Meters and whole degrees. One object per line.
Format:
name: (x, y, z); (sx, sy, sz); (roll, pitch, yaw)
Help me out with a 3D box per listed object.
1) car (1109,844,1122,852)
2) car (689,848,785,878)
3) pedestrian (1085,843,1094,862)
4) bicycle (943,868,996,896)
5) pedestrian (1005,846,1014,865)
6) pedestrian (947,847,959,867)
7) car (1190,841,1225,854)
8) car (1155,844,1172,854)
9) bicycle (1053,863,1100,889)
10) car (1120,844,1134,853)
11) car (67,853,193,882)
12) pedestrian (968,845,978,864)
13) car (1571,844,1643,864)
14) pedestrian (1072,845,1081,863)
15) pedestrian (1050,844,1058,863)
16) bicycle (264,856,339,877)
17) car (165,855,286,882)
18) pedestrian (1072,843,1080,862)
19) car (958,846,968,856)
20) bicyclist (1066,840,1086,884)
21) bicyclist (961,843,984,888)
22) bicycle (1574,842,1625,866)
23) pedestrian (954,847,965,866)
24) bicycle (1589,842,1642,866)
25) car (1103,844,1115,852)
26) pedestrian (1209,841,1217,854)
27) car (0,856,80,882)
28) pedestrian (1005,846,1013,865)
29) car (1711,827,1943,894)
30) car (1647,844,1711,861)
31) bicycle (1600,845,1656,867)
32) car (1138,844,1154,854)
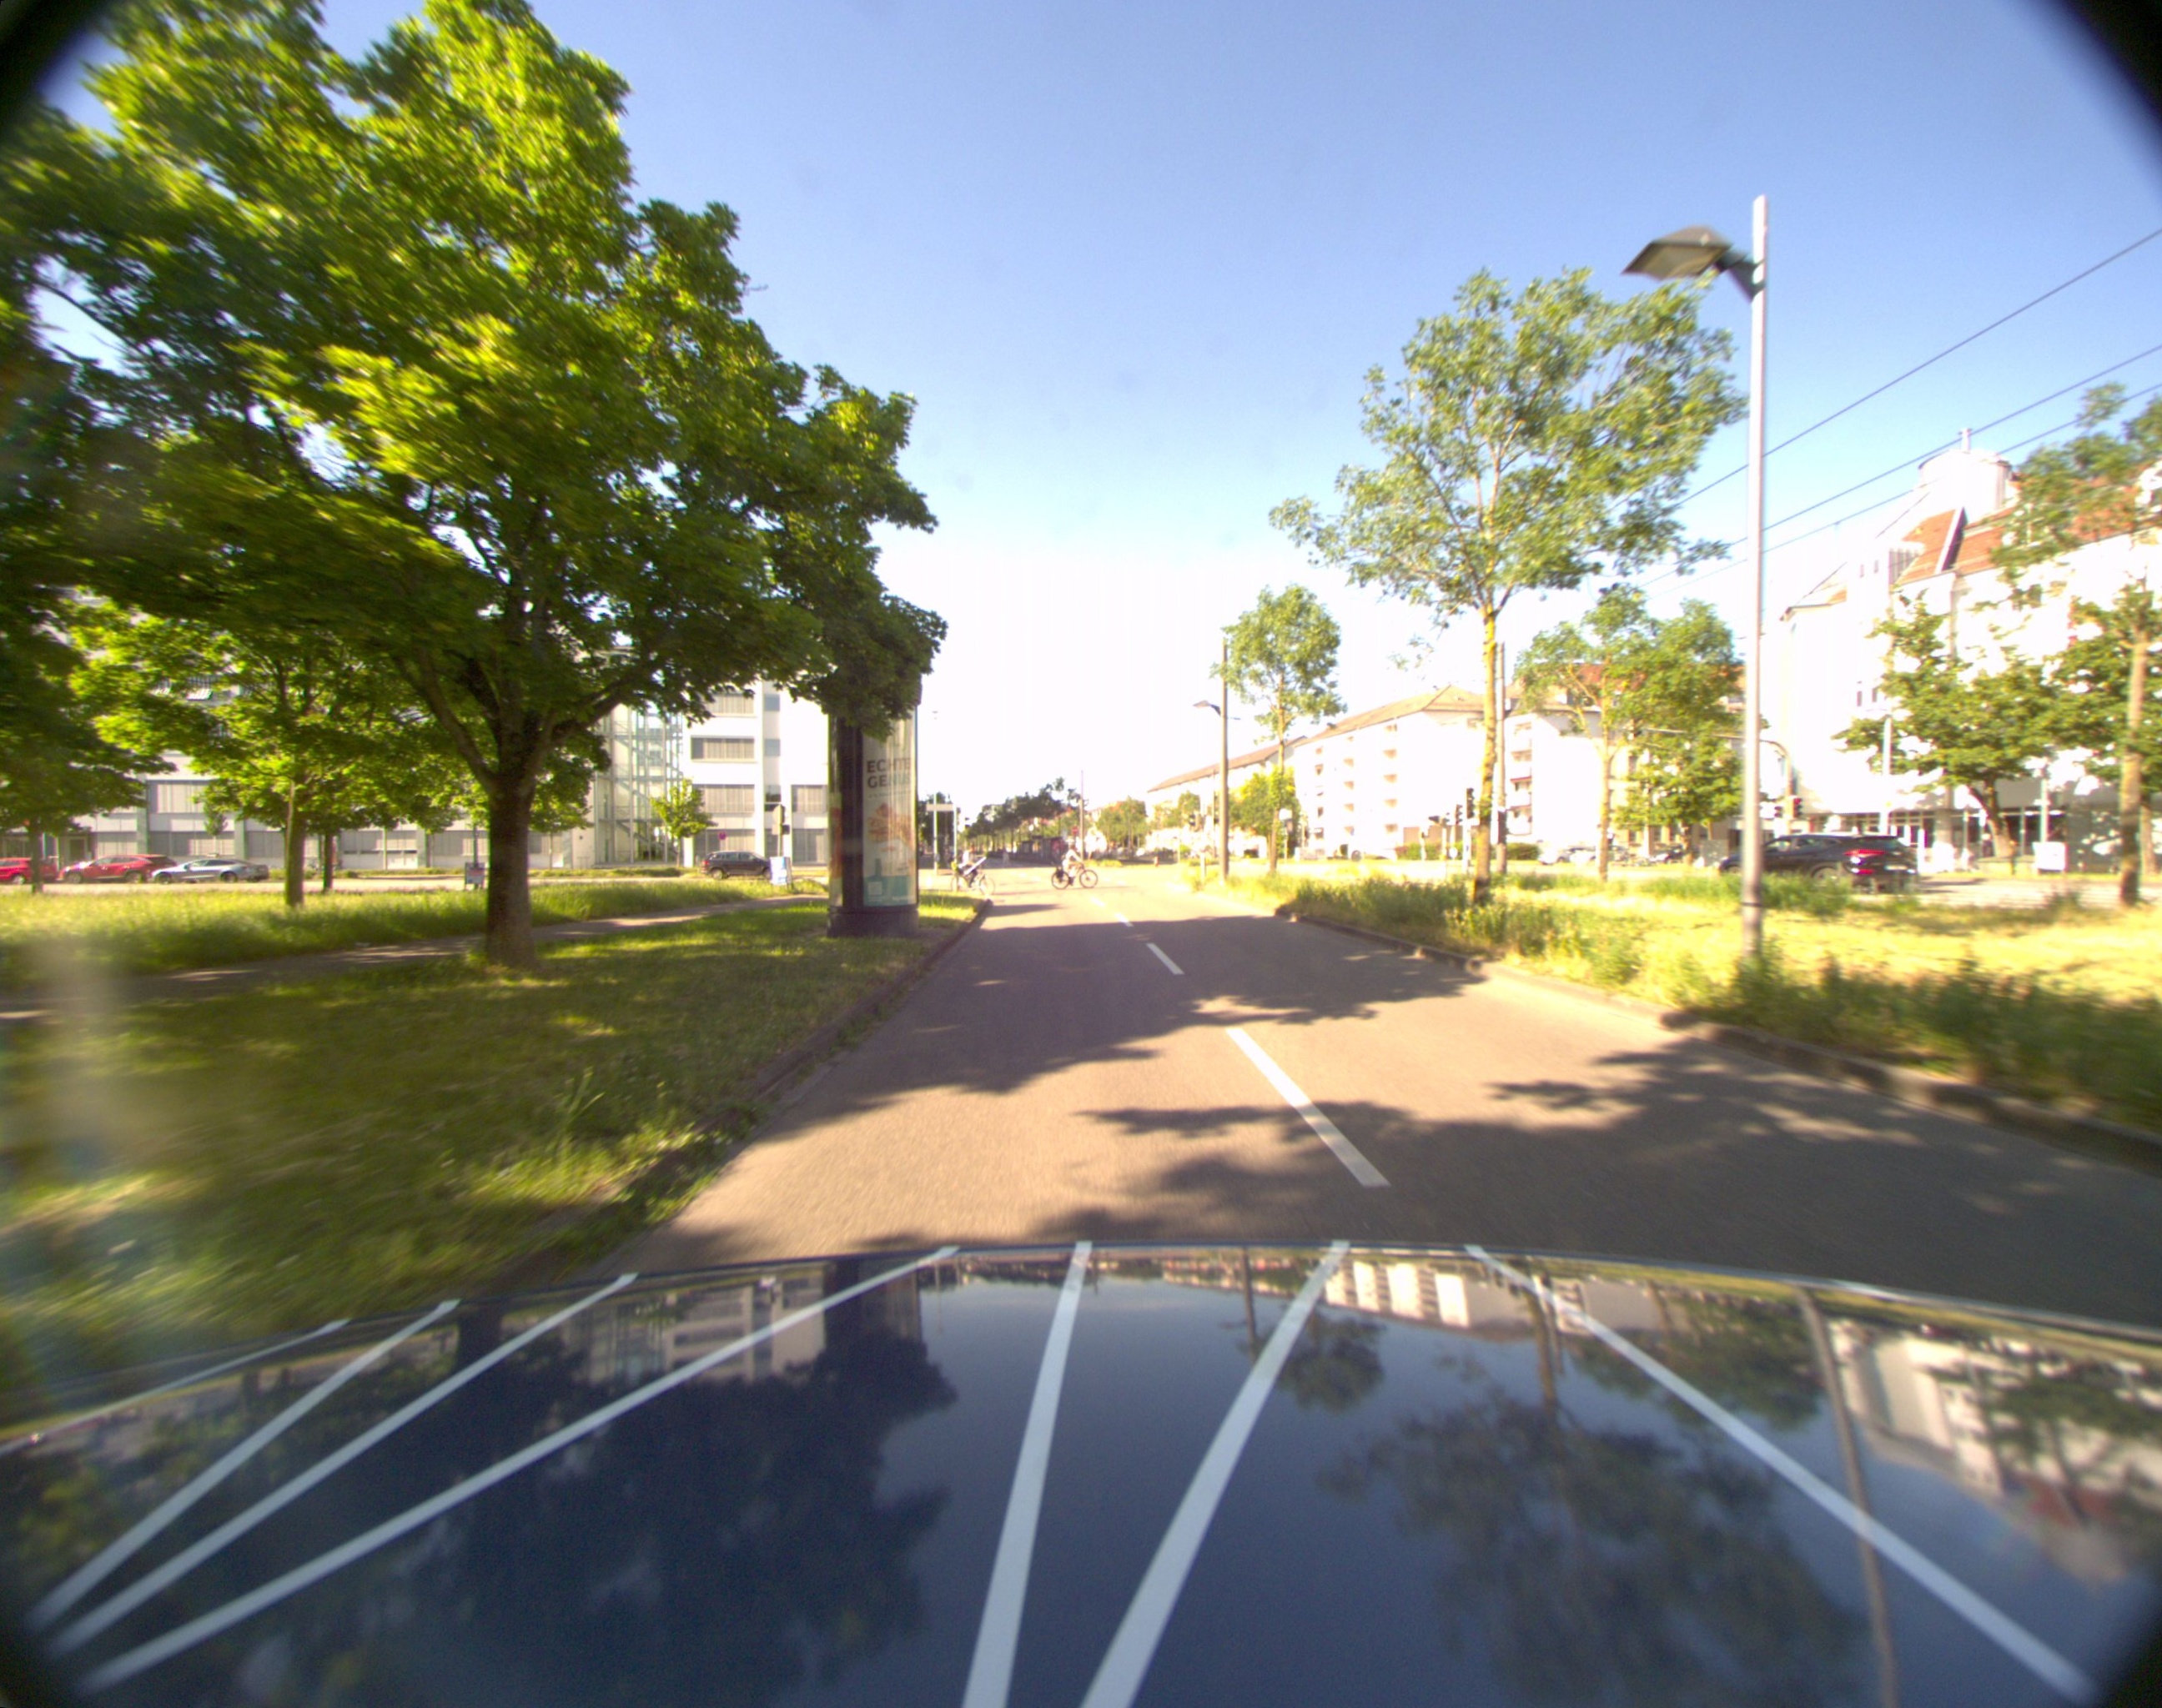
car: (7.384, -1.228, 162.478); (1.694, 1.700, 4.237); (-1, 1, -11)
car: (-19.708, 0.511, 43.738); (4.632, 1.613, 1.998); (-1, 2, -9)
pedestrian: (0.767, -0.136, 66.492); (0.723, 1.687, 0.608); (-1, 1, -4)
bicycle: (-4.025, 1.006, 27.578); (1.828, 0.958, 0.855); (-1, 1, -3)
pedestrian: (-6.353, 0.115, 67.367); (0.732, 1.687, 0.735); (-1, 1, -4)
pedestrian: (-11.206, 0.260, 66.578); (0.731, 1.687, 0.736); (0, 1, 12)
car: (16.579, -0.855, 99.626); (4.231, 1.700, 1.696); (0, 1, 21)
car: (13.739, -0.876, 127.193); (1.694, 1.700, 4.237); (-1, 1, -11)
bicycle: (-0.183, 0.862, 29.883); (1.828, 0.958, 0.816); (-1, 1, -3)
car: (9.235, -1.085, 152.721); (1.834, 1.700, 4.237); (-1, 1, -11)
car: (-55.430, 0.779, 44.392); (4.289, 1.585, 1.917); (-1, 1, -13)
pedestrian: (-9.809, 0.071, 68.965); (0.882, 1.687, 0.735); (-1, 1, -4)
car: (40.457, -0.040, 58.528); (4.190, 1.457, 2.332); (-1, 1, -12)
pedestrian: (-0.388, 0.004, 69.717); (0.732, 1.687, 0.735); (-1, 1, -4)
pedestrian: (-2.370, -0.034, 67.531); (0.641, 1.687, 0.607); (-1, 1, -9)
bicycle: (-51.741, 0.812, 50.489); (3.535, 1.340, 0.989); (-1, 1, -10)
car: (-49.133, 0.804, 43.749); (4.289, 1.412, 1.917); (-1, 1, -13)
pedestrian: (-0.454, -0.150, 70.920); (0.732, 1.687, 0.735); (-1, 1, -4)
car: (-20.919, -0.500, 134.459); (1.694, 1.700, 4.237); (-1, 1, -11)
bicyclist: (-0.189, 0.300, 29.873); (0.715, 1.682, 0.816); (-1, 1, -4)
bicyclist: (-3.933, 0.419, 27.576); (0.715, 1.591, 0.849); (-1, 1, -3)
bicycle: (29.342, -0.010, 42.999); (2.580, 1.302, 0.662); (-1, 1, -6)
pedestrian: (-11.155, 0.221, 69.649); (0.731, 1.687, 0.736); (0, 1, 12)
bicycle: (29.445, 0.002, 41.883); (2.580, 1.302, 0.662); (-1, 1, -6)
car: (6.251, -1.276, 167.485); (1.694, 1.700, 4.400); (-1, 1, -11)
pedestrian: (17.038, -0.867, 98.303); (0.786, 1.701, 0.703); (-1, 1, -11)
car: (-60.661, 0.826, 43.191); (4.289, 1.412, 1.917); (-1, 1, -13)
pedestrian: (-6.480, 0.141, 68.275); (0.732, 1.687, 0.735); (-1, 1, -4)
car: (20.290, 0.146, 21.007); (1.824, 1.631, 4.487); (-1, 1, -4)
car: (46.930, -0.115, 59.632); (4.090, 1.303, 1.701); (-1, 1, -12)
bicycle: (29.468, 0.084, 40.924); (2.580, 1.152, 0.783); (-1, 1, -6)
car: (11.733, -0.866, 137.575); (1.694, 1.700, 4.237); (-1, 1, -11)
